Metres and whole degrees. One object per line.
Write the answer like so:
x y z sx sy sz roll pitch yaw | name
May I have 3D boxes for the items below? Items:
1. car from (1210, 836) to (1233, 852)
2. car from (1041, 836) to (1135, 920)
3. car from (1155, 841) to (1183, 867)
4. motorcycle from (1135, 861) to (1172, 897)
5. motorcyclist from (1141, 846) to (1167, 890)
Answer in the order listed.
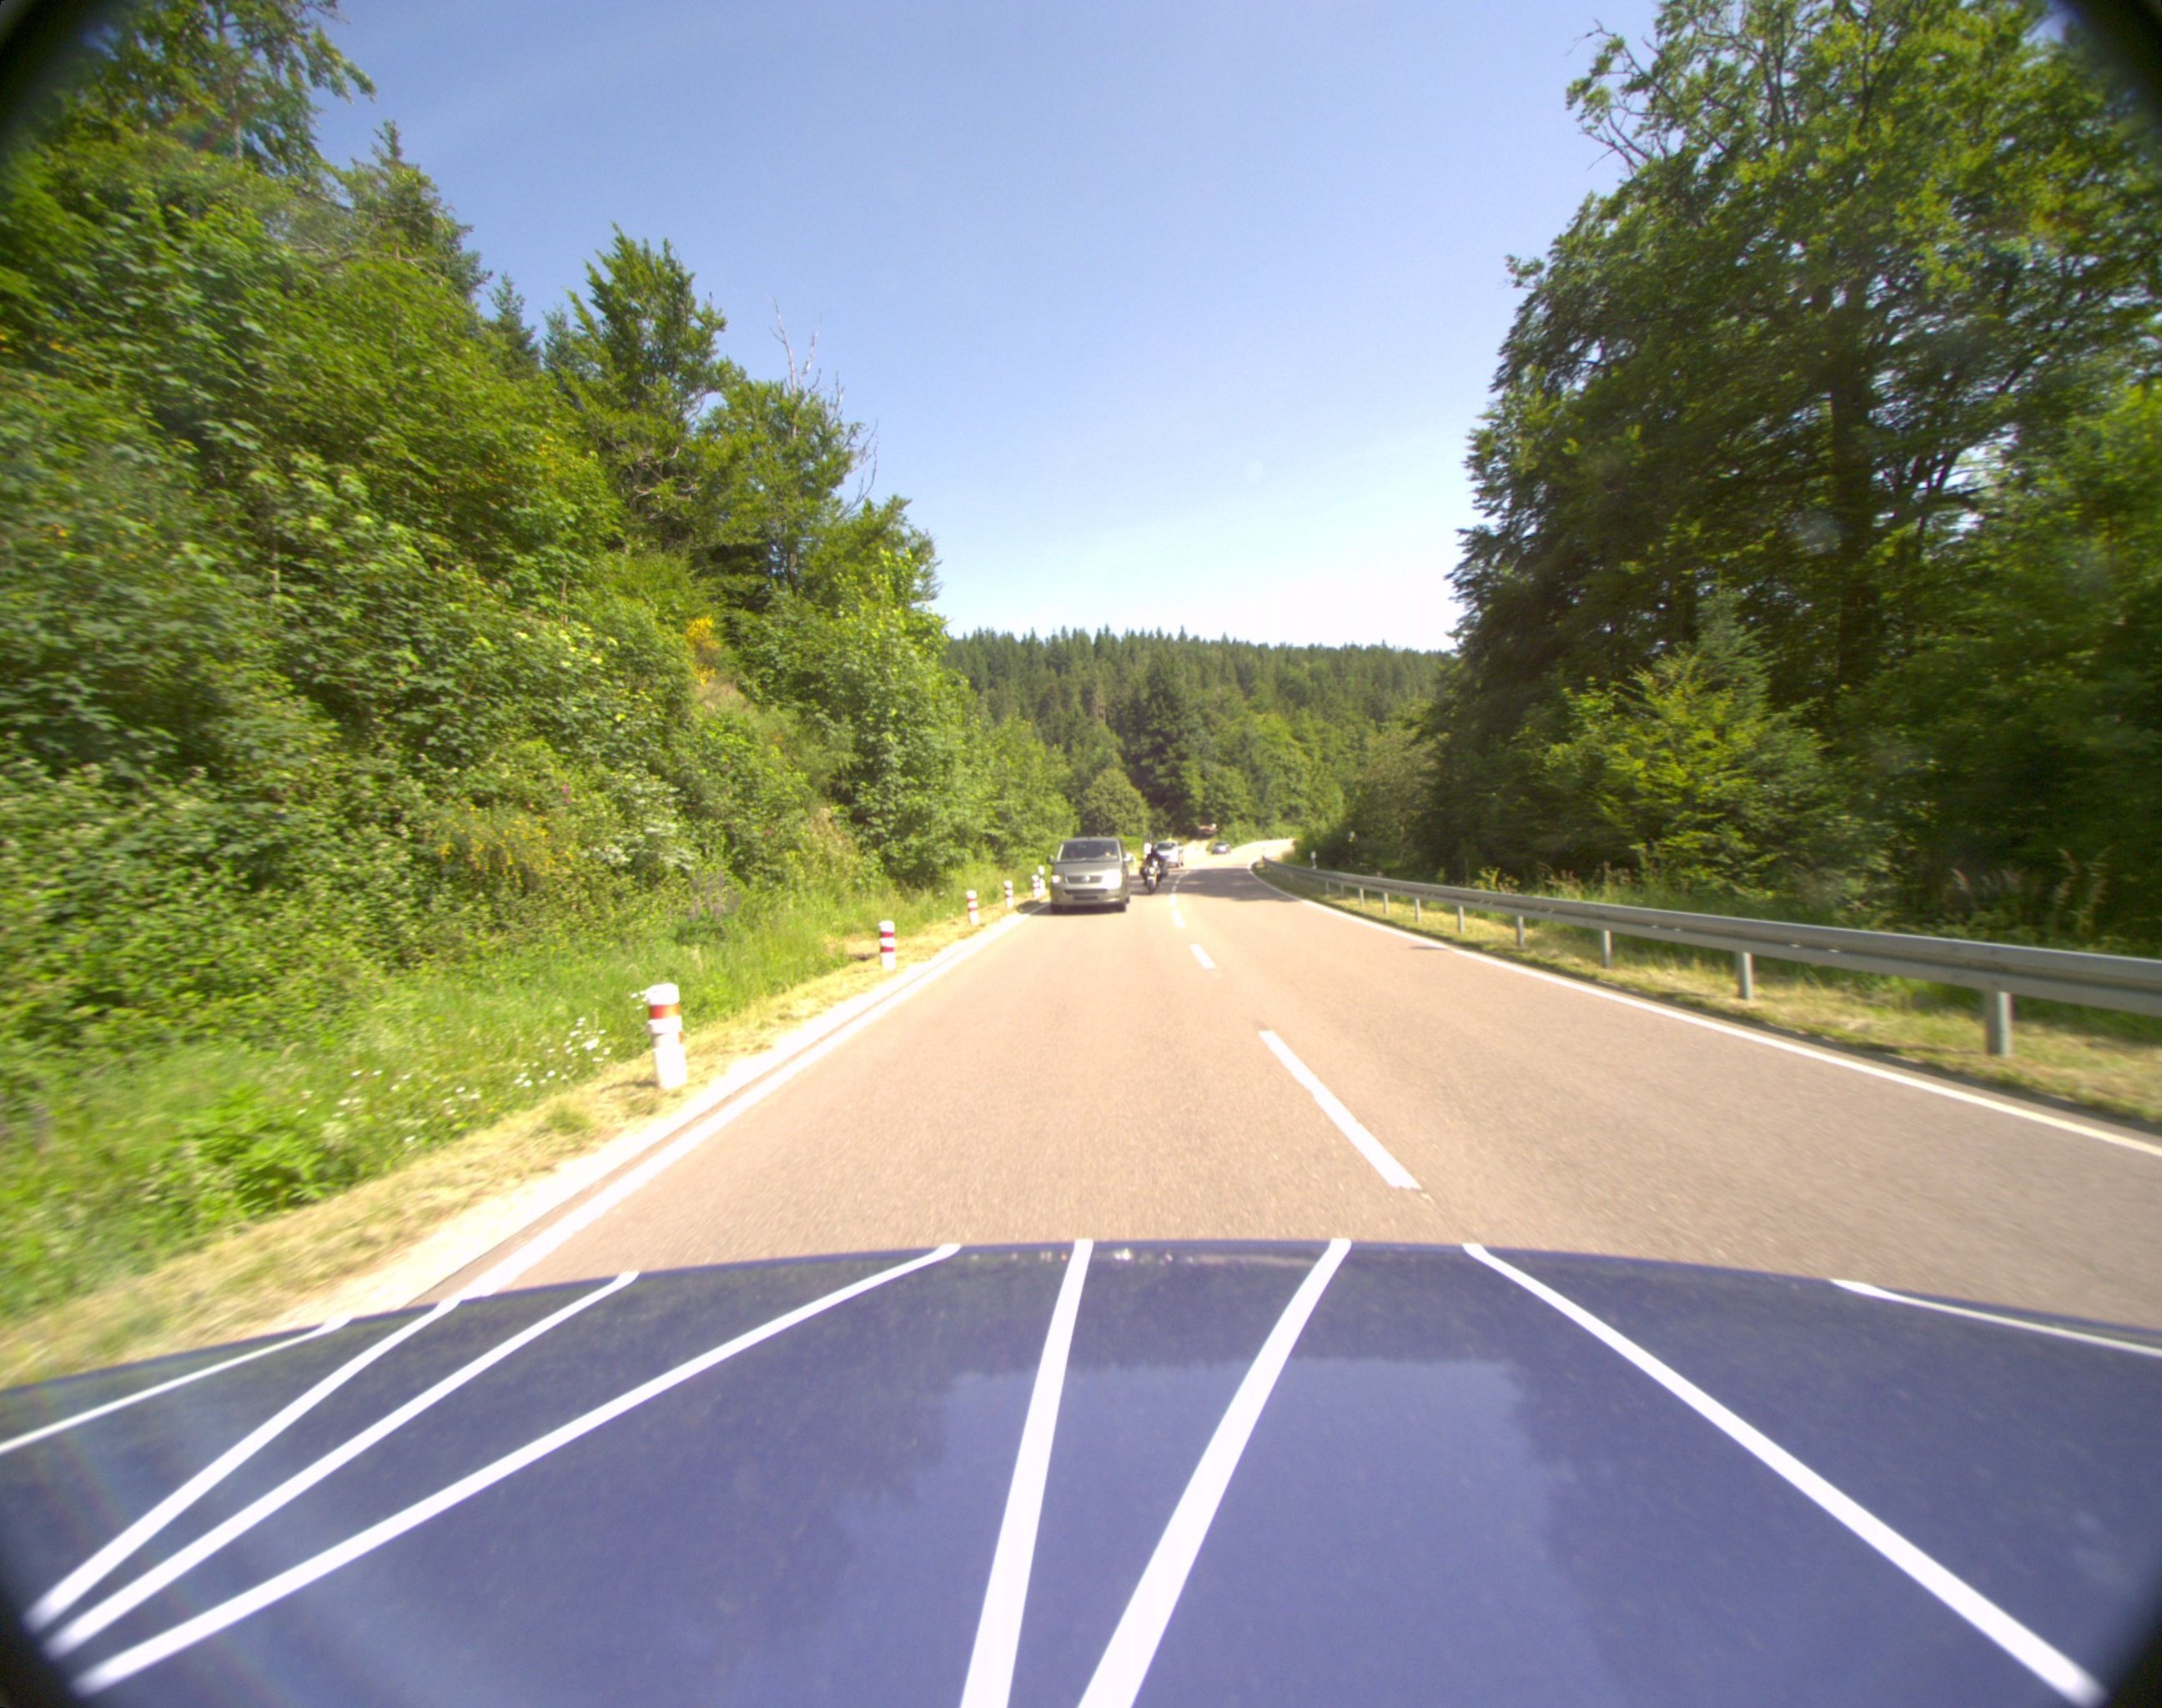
15.987 -1.120 86.148 1.996 1.634 4.004 -2 1 18 | car
0.333 0.550 20.569 2.028 1.940 4.900 -1 1 6 | car
6.319 -0.002 54.104 1.651 1.749 3.797 -1 1 11 | car
2.494 0.828 25.946 1.109 1.117 1.962 -2 0 9 | motorcycle
2.484 0.473 25.786 0.716 1.422 1.000 -4 0 9 | motorcyclist
